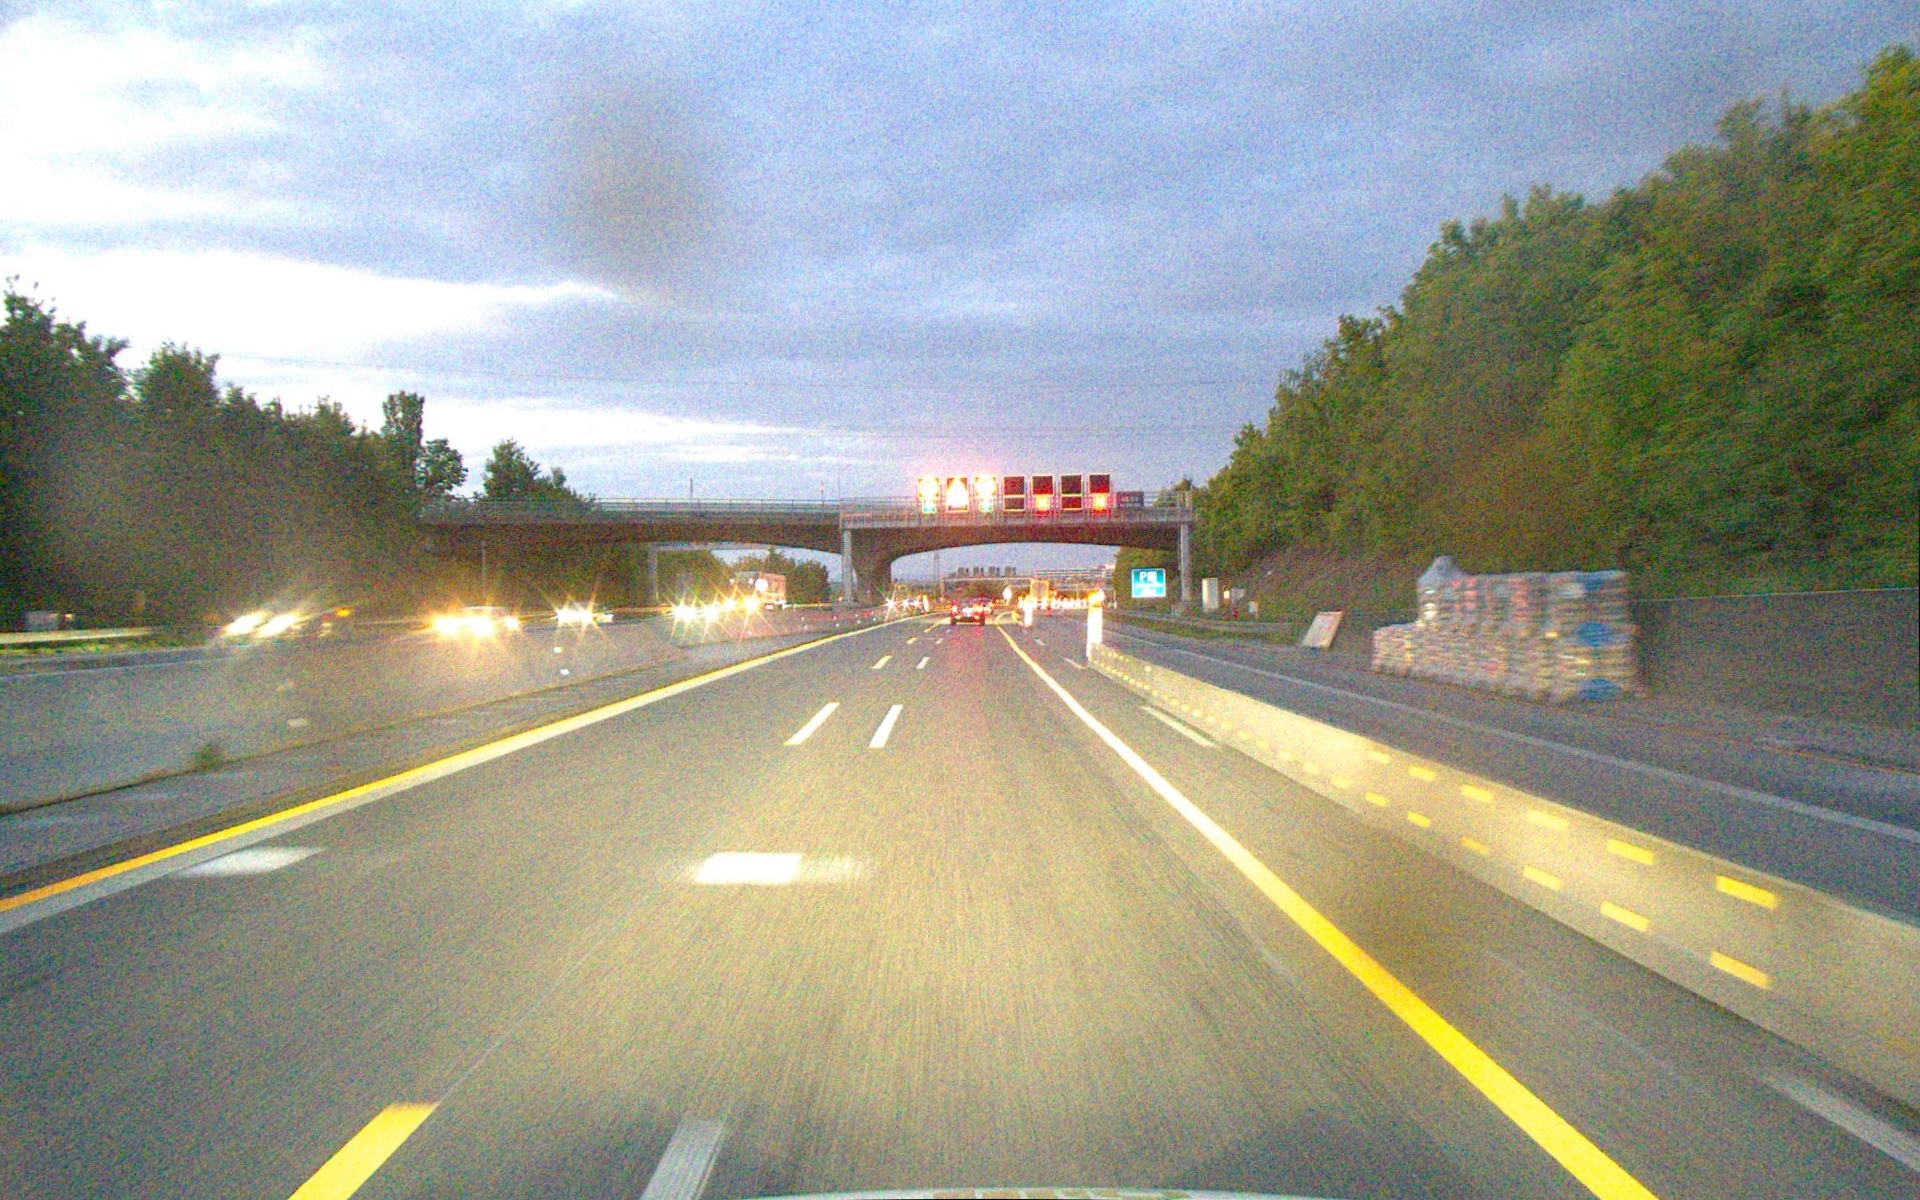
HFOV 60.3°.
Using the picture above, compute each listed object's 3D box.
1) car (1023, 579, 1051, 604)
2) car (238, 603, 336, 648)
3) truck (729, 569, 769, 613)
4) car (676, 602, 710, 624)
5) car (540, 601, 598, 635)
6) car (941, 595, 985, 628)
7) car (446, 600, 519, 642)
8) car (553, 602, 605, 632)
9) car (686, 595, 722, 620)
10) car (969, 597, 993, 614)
[{"bbox_3d":[11.047,-1.173,237.445,3.531,3.455,8.014,1,0,0],"label":"car"},{"bbox_3d":[-26.269,0.962,64.714,1.767,1.666,4.752,1,0,1],"label":"car"},{"bbox_3d":[-20.838,-0.835,163.379,2.719,4.244,6.388,1,0,3],"label":"truck"},{"bbox_3d":[-20.247,0.994,125.554,1.558,1.632,5.035,1,0,3],"label":"car"},{"bbox_3d":[-20.325,0.916,86.232,1.767,1.666,4.752,1,0,1],"label":"car"},{"bbox_3d":[0.147,0.611,88.520,2.219,1.649,3.999,1,0,-2],"label":"car"},{"bbox_3d":[-20.406,0.877,70.842,1.644,1.666,4.752,1,0,1],"label":"car"},{"bbox_3d":[-22.194,0.993,96.641,1.701,1.666,5.171,1,0,1],"label":"car"},{"bbox_3d":[-18.077,0.524,117.003,1.701,1.666,4.892,1,0,1],"label":"car"},{"bbox_3d":[1.905,0.466,149.494,1.930,1.462,4.002,1,0,4],"label":"car"}]
